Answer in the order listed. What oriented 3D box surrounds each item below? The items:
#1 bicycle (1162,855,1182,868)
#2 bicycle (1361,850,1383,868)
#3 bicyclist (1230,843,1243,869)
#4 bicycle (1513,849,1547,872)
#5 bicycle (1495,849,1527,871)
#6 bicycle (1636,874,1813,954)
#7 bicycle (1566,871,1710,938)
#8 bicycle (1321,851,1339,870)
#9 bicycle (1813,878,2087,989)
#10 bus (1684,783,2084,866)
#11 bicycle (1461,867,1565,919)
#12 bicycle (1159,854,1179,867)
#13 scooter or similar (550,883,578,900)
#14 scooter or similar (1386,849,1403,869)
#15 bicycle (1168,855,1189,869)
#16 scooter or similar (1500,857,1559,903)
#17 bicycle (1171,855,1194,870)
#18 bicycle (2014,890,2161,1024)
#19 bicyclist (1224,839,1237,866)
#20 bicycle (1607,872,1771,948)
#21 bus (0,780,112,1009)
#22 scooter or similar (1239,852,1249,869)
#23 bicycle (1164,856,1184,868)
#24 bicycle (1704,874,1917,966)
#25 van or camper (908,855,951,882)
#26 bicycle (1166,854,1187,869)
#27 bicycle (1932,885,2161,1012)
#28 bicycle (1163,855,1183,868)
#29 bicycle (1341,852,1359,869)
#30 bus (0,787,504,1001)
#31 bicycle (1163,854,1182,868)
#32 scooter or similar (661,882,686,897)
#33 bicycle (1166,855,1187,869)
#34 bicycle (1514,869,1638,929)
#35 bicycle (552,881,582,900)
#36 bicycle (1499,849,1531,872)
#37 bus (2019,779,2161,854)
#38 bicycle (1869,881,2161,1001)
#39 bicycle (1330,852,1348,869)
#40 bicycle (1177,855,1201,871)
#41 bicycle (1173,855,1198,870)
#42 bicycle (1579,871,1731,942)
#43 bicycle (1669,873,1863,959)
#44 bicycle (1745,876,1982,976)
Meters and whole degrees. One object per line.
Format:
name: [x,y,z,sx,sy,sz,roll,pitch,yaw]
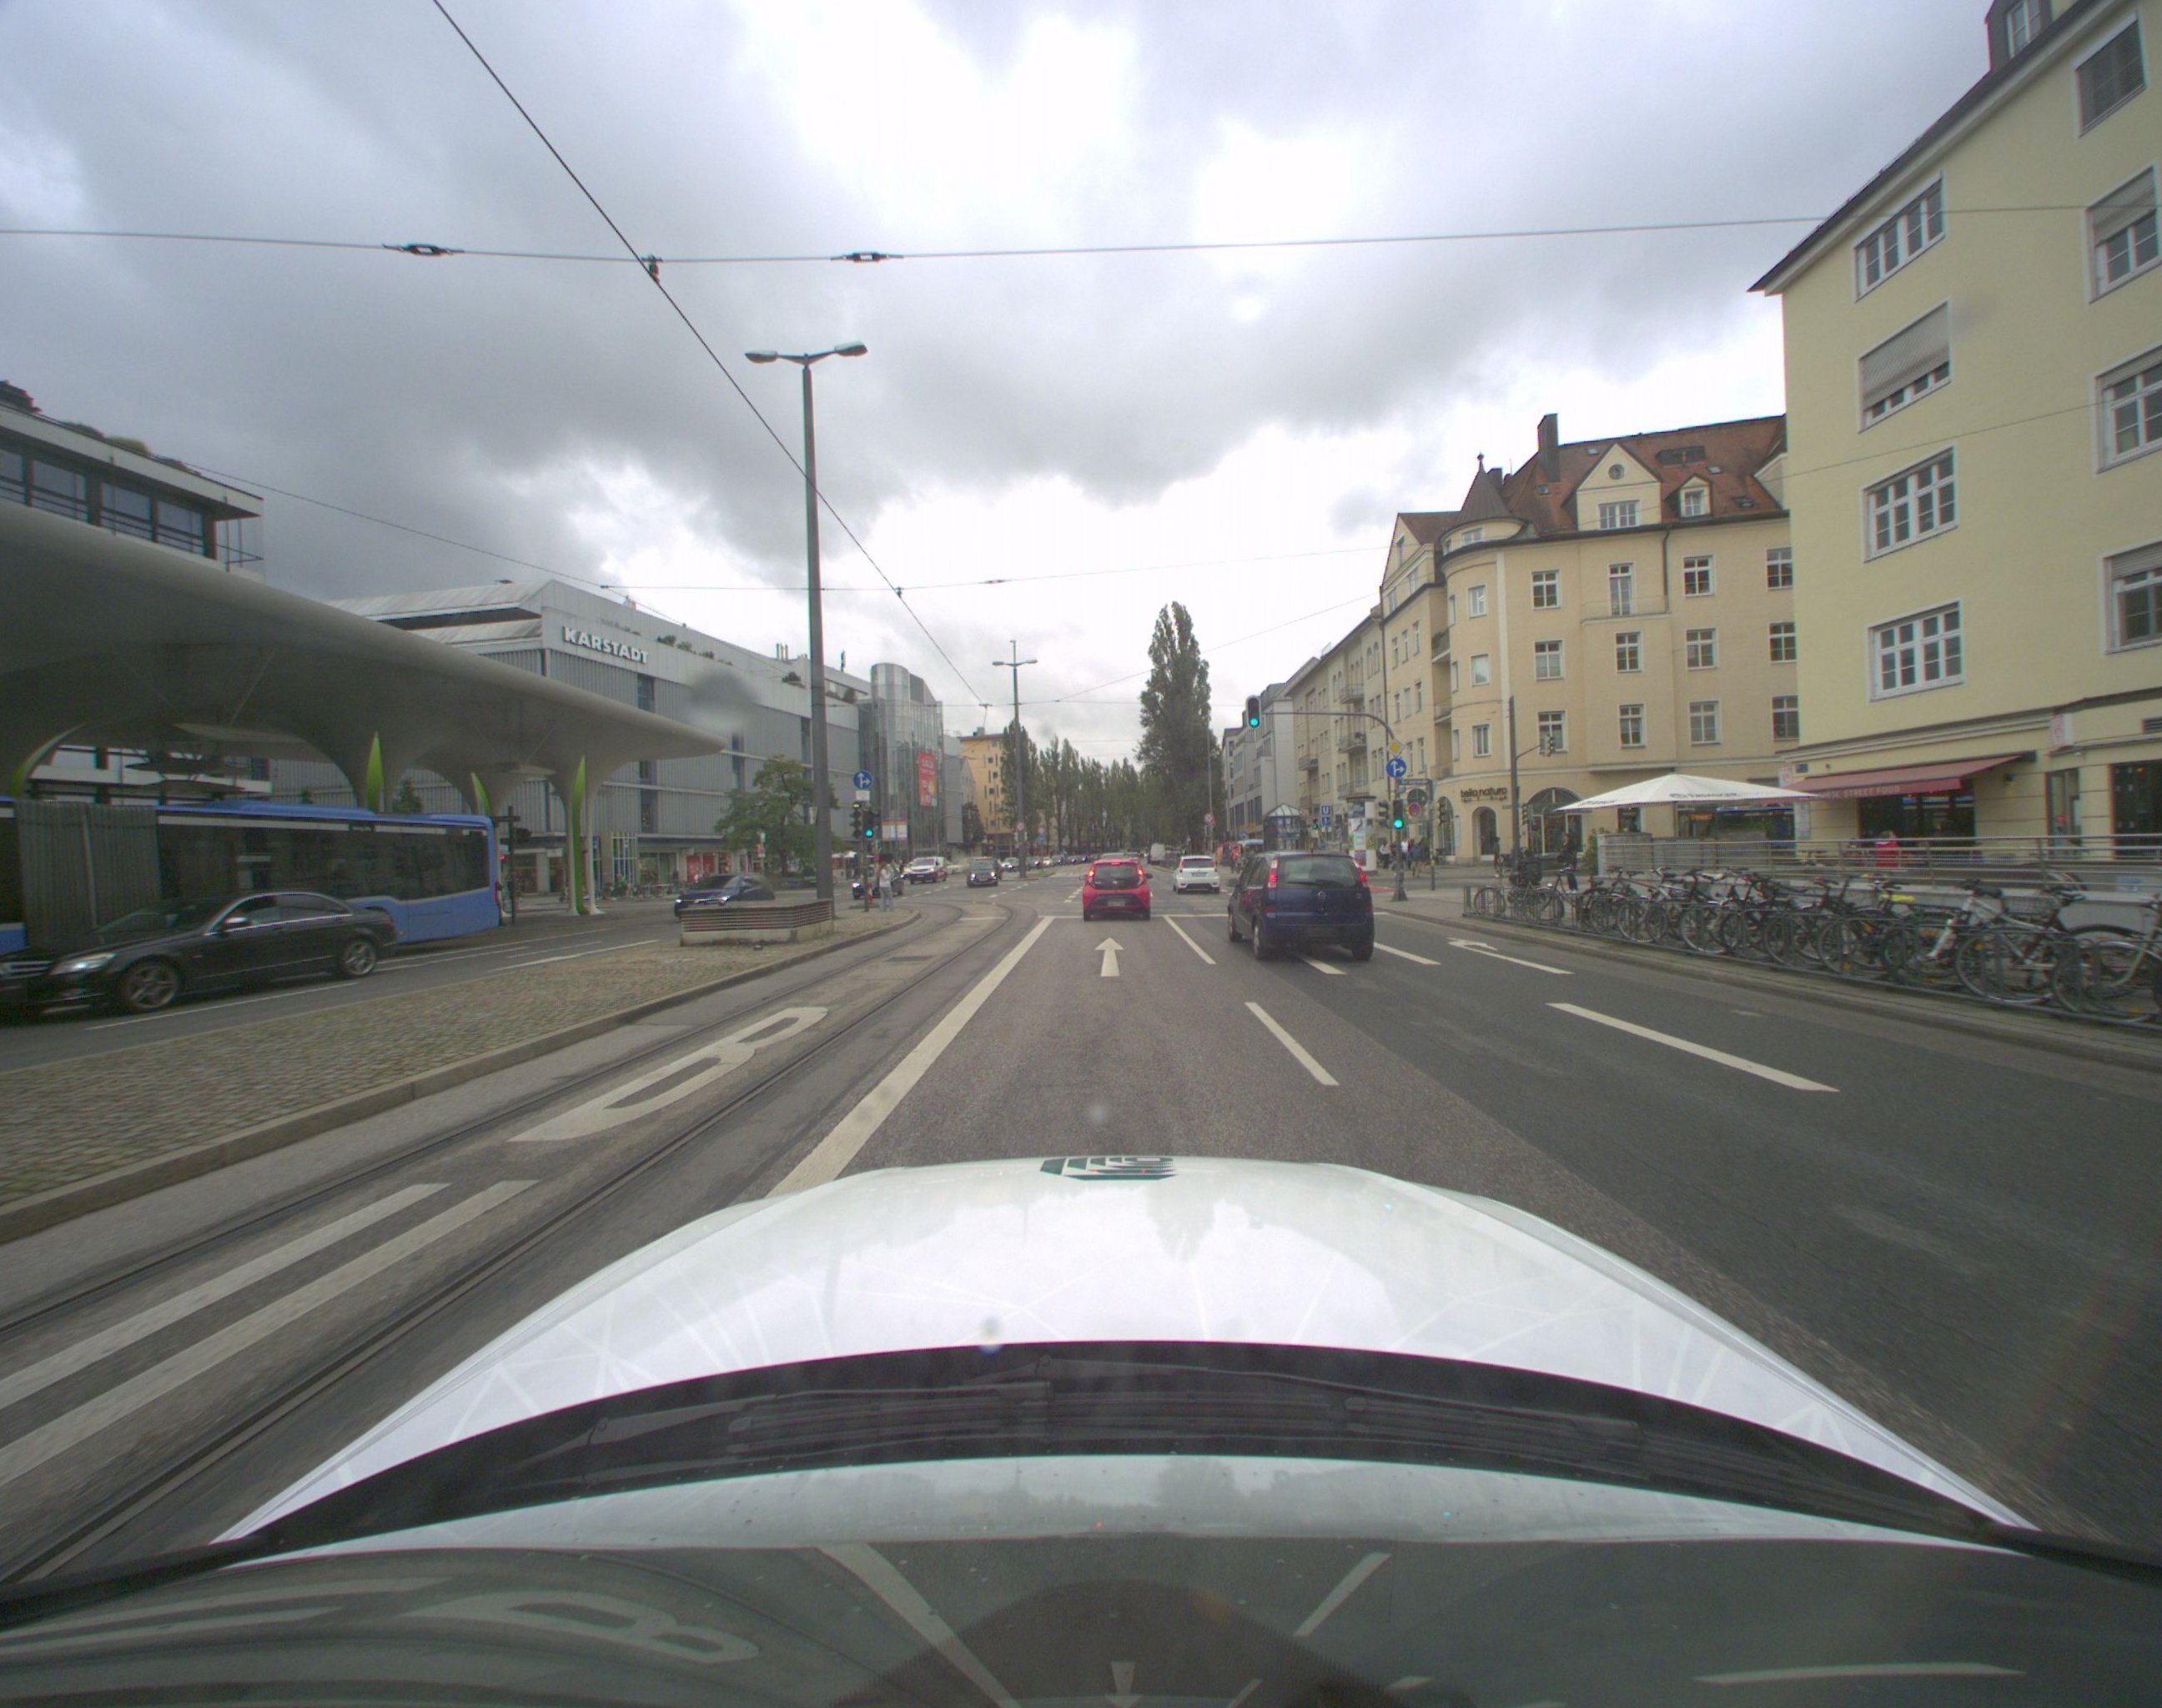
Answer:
bicycle: [8.530,0.690,76.528,1.815,1.136,0.590,-2,0,45]
bicycle: [17.307,0.300,48.452,0.493,1.059,1.865,-2,0,-2]
bicyclist: [10.064,0.129,52.665,0.611,1.657,1.252,-2,0,3]
bicycle: [21.896,0.314,39.725,1.580,1.033,0.356,-2,0,-13]
bicycle: [21.443,0.314,40.593,1.580,1.033,0.247,-2,0,-13]
bicycle: [8.659,0.794,11.034,0.350,0.996,1.819,-2,-1,-45]
bicycle: [8.828,0.792,12.982,0.350,0.996,1.820,-2,-1,-42]
bicycle: [14.839,0.391,48.537,0.564,1.107,1.867,-2,0,2]
bicycle: [8.628,0.771,8.200,1.818,0.996,0.350,-3,-1,41]
bus: [35.635,-1.258,36.810,13.468,2.967,2.825,-2,1,12]
bicycle: [8.799,0.790,16.648,0.350,0.996,1.819,-2,-1,-44]
bicycle: [8.573,0.634,79.456,1.814,1.136,0.590,-2,0,38]
scooter or similar: [-32.842,2.377,51.779,1.405,0.982,0.411,-2,0,-22]
scooter or similar: [17.342,0.276,44.978,0.812,0.994,0.597,-2,3,24]
bicycle: [8.292,0.707,69.517,1.782,1.111,0.590,-2,0,45]
scooter or similar: [11.148,0.640,20.285,0.773,1.075,1.256,-2,0,0]
bicycle: [8.224,0.708,66.012,1.781,1.111,0.656,-2,0,39]
bicycle: [8.451,0.775,6.131,0.350,0.996,1.819,-2,-1,-44]
bicyclist: [10.818,-0.111,58.957,0.759,1.869,1.133,-2,0,3]
bicycle: [8.683,0.793,11.699,0.350,0.996,1.819,-2,-1,-45]
bus: [-15.528,0.613,6.546,2.651,3.007,10.516,-4,0,1]
scooter or similar: [12.229,0.480,61.090,0.297,1.176,1.285,-3,0,32]
bicycle: [8.331,0.728,73.037,1.815,1.052,0.590,-2,0,45]
bicycle: [8.595,0.770,9.682,1.818,0.996,0.350,-3,-1,41]
van or camper: [-11.137,1.044,60.234,1.921,1.826,5.442,-2,0,1]
bicycle: [8.362,0.657,71.627,1.815,1.197,0.590,-2,0,45]
bicycle: [8.503,0.774,6.848,0.350,0.996,1.819,-2,-1,-44]
bicycle: [8.518,0.683,75.766,1.815,1.136,0.590,-2,0,45]
bicycle: [16.015,0.402,48.491,0.492,0.975,1.867,-2,0,2]
bus: [-15.279,0.608,15.574,2.649,3.007,7.518,-4,0,3]
bicycle: [8.645,0.636,77.192,1.815,1.241,0.590,-2,0,45]
scooter or similar: [-27.871,2.412,55.711,1.397,0.982,0.414,-2,0,-6]
bicycle: [8.305,0.675,70.846,1.815,1.168,0.590,-2,0,45]
bicycle: [8.764,0.791,14.491,0.350,0.996,1.819,-2,-1,-44]
bicycle: [-32.040,2.274,50.811,0.582,1.111,1.895,-2,-2,3]
bicycle: [21.516,0.314,40.338,1.580,1.033,0.247,-2,0,-13]
bus: [46.813,-1.717,34.492,9.489,2.967,2.825,-2,1,12]
bicycle: [8.607,0.771,7.545,1.818,0.996,0.350,-3,-1,41]
bicycle: [15.339,0.403,48.505,0.492,0.975,1.867,-2,0,2]
bicycle: [8.276,0.675,62.569,1.781,1.158,0.490,-2,0,32]
bicycle: [8.221,0.686,63.949,1.781,1.158,0.656,-2,0,38]
bicycle: [8.696,0.793,12.416,0.350,0.996,1.819,-2,-1,-45]
bicycle: [8.639,0.770,10.347,1.818,0.996,0.350,-3,-1,41]
bicycle: [8.559,0.770,9.010,1.818,0.996,0.350,-3,-1,41]
